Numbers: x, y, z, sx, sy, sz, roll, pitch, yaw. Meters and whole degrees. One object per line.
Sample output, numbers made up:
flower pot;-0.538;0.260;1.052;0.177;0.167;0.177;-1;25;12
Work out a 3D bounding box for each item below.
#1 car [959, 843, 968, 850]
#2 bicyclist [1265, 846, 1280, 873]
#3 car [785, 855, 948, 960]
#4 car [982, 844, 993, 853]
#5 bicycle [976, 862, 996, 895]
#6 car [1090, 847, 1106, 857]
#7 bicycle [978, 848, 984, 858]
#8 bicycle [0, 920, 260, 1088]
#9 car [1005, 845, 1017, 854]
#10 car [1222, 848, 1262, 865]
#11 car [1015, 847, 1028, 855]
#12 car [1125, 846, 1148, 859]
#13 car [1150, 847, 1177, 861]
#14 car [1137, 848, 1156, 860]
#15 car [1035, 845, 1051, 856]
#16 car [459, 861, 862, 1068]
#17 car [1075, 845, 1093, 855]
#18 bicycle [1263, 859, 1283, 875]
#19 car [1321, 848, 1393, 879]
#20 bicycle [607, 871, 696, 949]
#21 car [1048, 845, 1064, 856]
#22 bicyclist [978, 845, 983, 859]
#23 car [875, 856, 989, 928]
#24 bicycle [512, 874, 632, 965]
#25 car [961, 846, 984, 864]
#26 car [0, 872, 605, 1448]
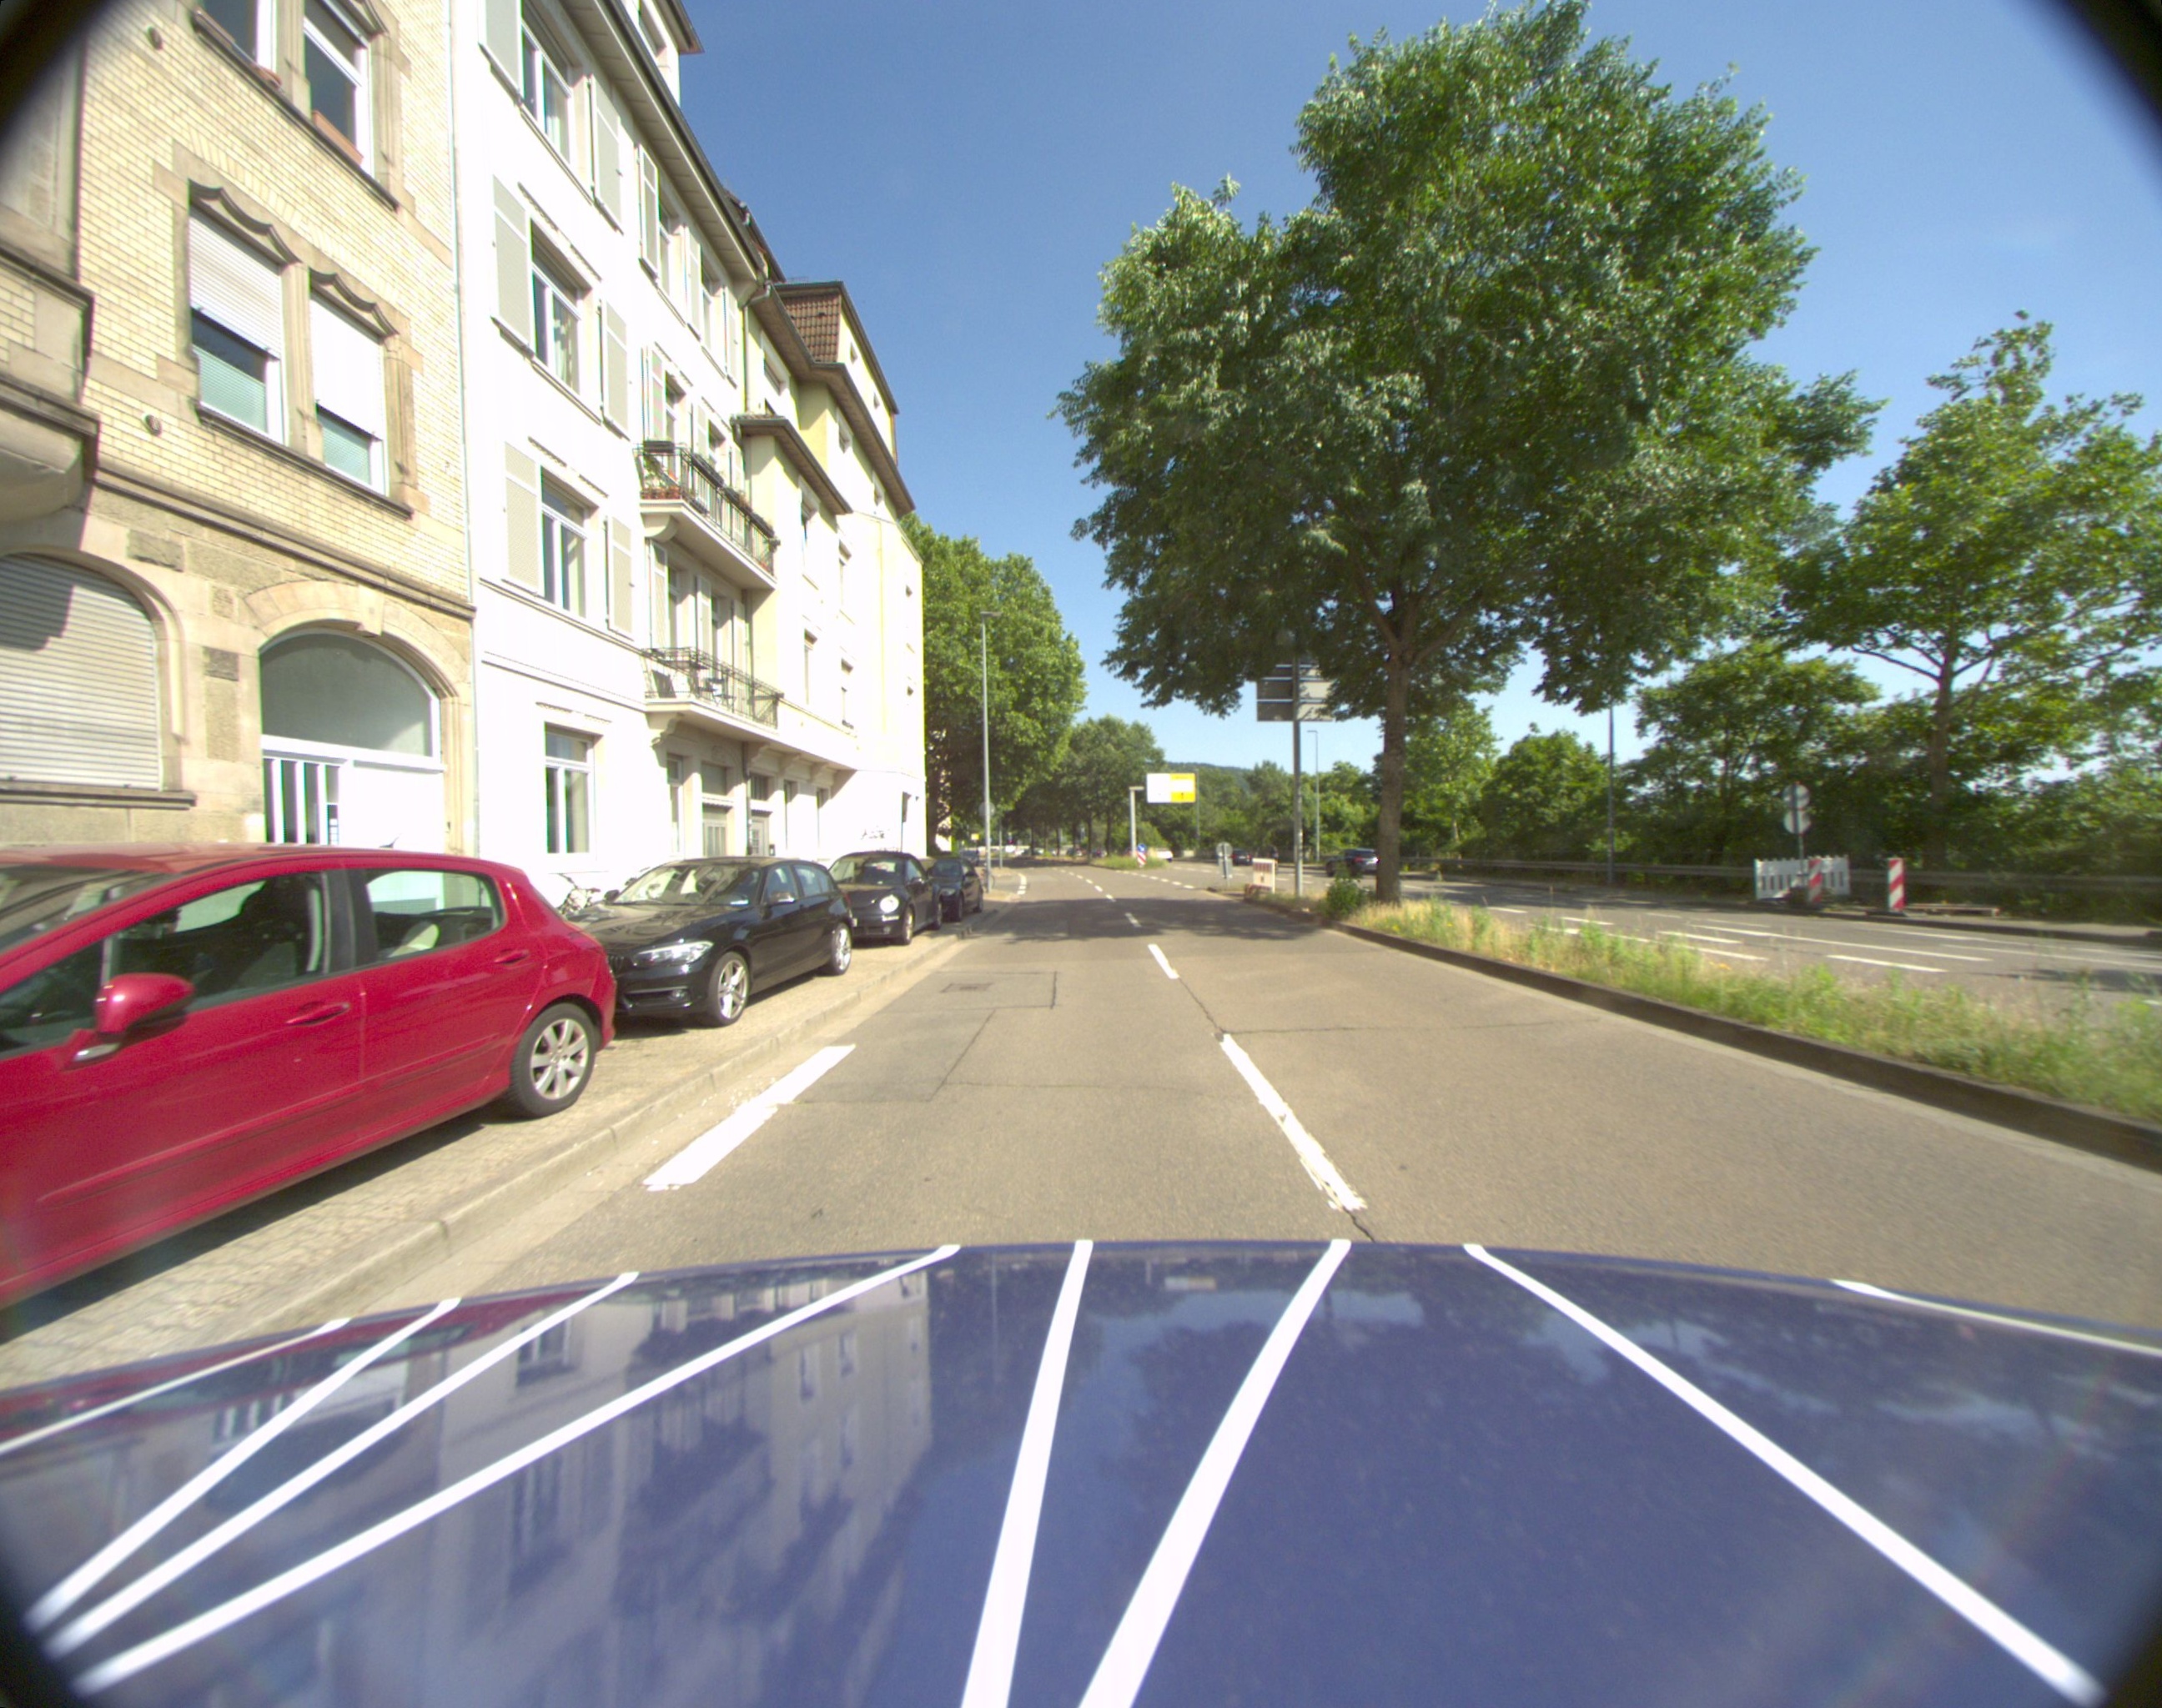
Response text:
car;-29.315;-1.874;189.879;1.636;1.801;3.586;-1;1;-17
bicyclist;10.970;0.319;43.485;0.575;1.525;0.778;0;1;-7
car;-3.491;0.784;13.121;1.646;1.492;4.009;0;1;0
car;-20.146;-1.190;163.679;1.636;1.801;3.586;-1;1;-17
bicycle;-3.430;0.868;27.574;0.578;1.081;1.733;-1;1;-3
car;2.571;-0.290;116.373;1.682;1.461;3.573;0;1;-11
bicycle;-11.674;-0.079;88.557;0.554;1.182;1.286;0;1;-4
bicycle;-7.349;1.054;5.696;0.509;0.964;1.653;-1;1;3
car;-14.295;-0.915;155.558;1.636;1.904;3.675;-1;1;-16
car;13.347;0.178;63.372;1.999;1.403;4.613;0;1;-5
car;-11.679;-0.534;149.197;1.636;1.487;3.675;-1;1;-17
car;6.590;-0.150;90.625;1.803;1.511;3.960;0;1;-9
car;8.516;-0.014;79.073;1.870;1.444;4.201;0;1;-7
car;8.429;-0.018;98.255;1.646;1.492;3.646;0;1;-8
car;-6.859;-0.598;136.041;2.001;1.880;3.994;-1;1;-17
car;-3.712;0.842;7.691;1.646;1.444;4.126;-1;1;2
car;0.466;-0.687;128.424;1.925;1.654;4.306;-1;1;-14
bicycle;10.960;0.734;43.500;0.495;0.828;1.805;0;1;-7
car;14.297;0.446;39.675;1.999;1.519;4.697;1;1;-1
bicycle;-7.189;0.905;12.812;0.567;1.173;1.626;-1;1;-1
car;-4.204;-0.617;128.696;2.001;1.880;3.995;-1;1;-13
bicyclist;-11.682;-0.219;88.566;0.541;1.624;0.589;0;1;-4
car;-3.291;0.786;17.525;1.745;1.408;4.080;0;1;1
bicycle;-7.214;0.893;10.865;0.657;1.140;1.626;1;1;-1
car;-9.964;0.082;69.318;1.794;1.504;3.889;-1;1;-12
car;-3.822;0.872;2.584;1.789;1.474;4.000;0;1;2
